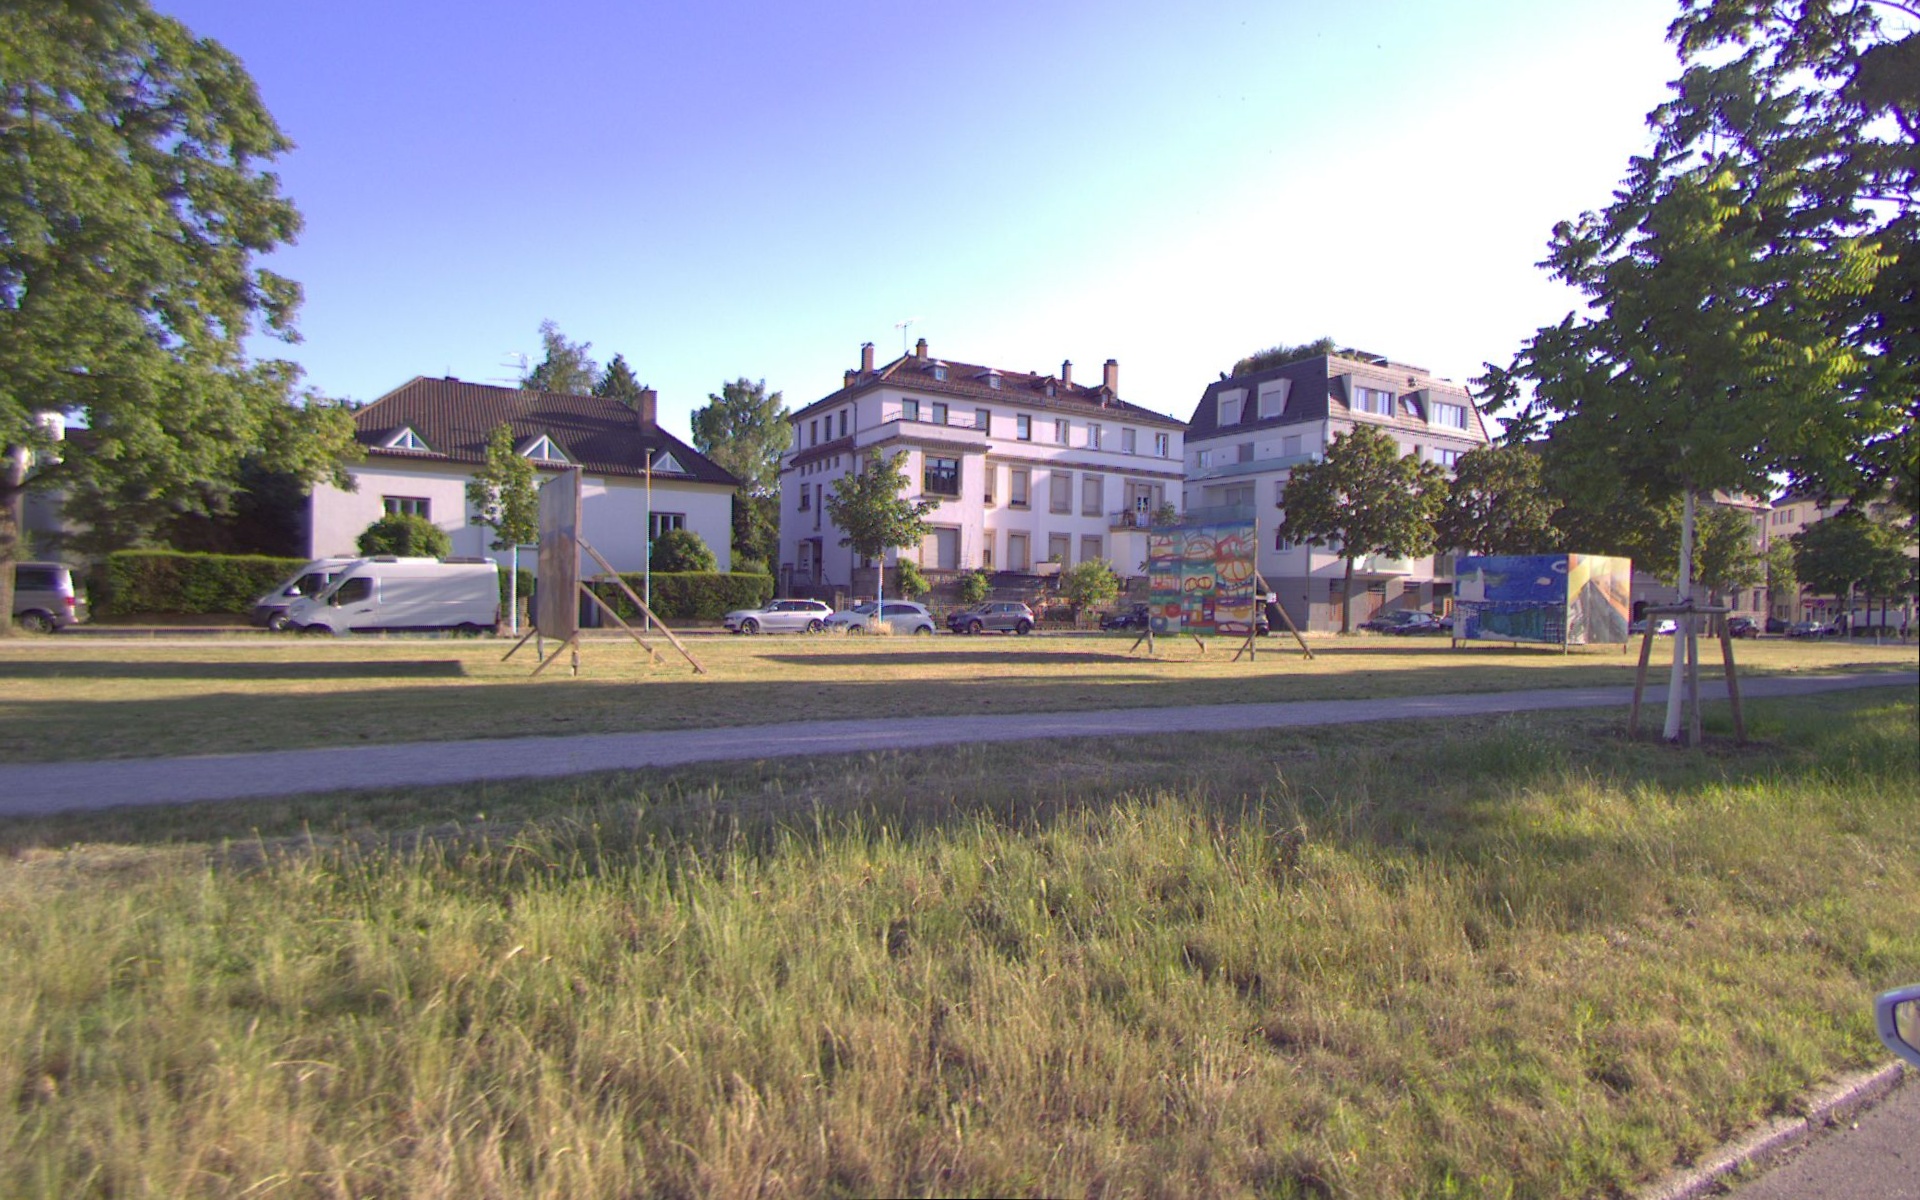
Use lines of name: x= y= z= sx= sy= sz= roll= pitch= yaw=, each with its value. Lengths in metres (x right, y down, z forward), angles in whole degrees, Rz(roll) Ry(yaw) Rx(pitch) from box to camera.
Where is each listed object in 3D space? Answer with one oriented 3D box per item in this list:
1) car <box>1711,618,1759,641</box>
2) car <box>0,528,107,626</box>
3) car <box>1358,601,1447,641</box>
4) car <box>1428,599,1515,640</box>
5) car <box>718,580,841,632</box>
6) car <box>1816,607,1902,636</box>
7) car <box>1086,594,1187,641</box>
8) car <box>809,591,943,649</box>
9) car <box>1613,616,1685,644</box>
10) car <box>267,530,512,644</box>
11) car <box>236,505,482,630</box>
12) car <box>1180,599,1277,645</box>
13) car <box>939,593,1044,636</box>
car: x=64.495 y=2.481 z=83.544 sx=4.242 sy=1.729 sz=1.637 roll=3 pitch=-4 yaw=-29
car: x=-28.047 y=-0.685 z=28.645 sx=5.268 sy=2.638 sz=2.124 roll=3 pitch=-4 yaw=-32
car: x=23.105 y=1.134 z=52.403 sx=4.637 sy=1.851 sz=1.919 roll=3 pitch=-4 yaw=-30
car: x=28.467 y=1.131 z=55.830 sx=5.316 sy=2.027 sz=2.007 roll=3 pitch=-4 yaw=-34
car: x=-7.361 y=0.291 z=41.098 sx=4.660 sy=1.878 sz=1.722 roll=3 pitch=-4 yaw=-31
car: x=92.000 y=2.165 z=102.925 sx=6.202 sy=2.756 sz=1.999 roll=2 pitch=0 yaw=30
car: x=8.997 y=0.939 z=51.176 sx=4.795 sy=2.158 sz=2.229 roll=3 pitch=-4 yaw=-29
car: x=-3.086 y=0.786 z=37.014 sx=4.587 sy=1.924 sz=1.826 roll=3 pitch=-4 yaw=-30
car: x=45.217 y=1.996 z=65.870 sx=4.769 sy=1.658 sz=1.975 roll=3 pitch=-4 yaw=-29
car: x=-16.189 y=-0.244 z=28.846 sx=5.802 sy=2.862 sz=2.250 roll=3 pitch=-4 yaw=-30
car: x=-19.754 y=-0.923 z=33.435 sx=6.686 sy=3.605 sz=2.293 roll=3 pitch=-4 yaw=-30
car: x=12.347 y=1.074 z=46.209 sx=4.277 sy=1.941 sz=1.881 roll=3 pitch=-4 yaw=-31
car: x=1.464 y=0.705 z=46.102 sx=4.613 sy=1.724 sz=1.773 roll=3 pitch=-4 yaw=-31
